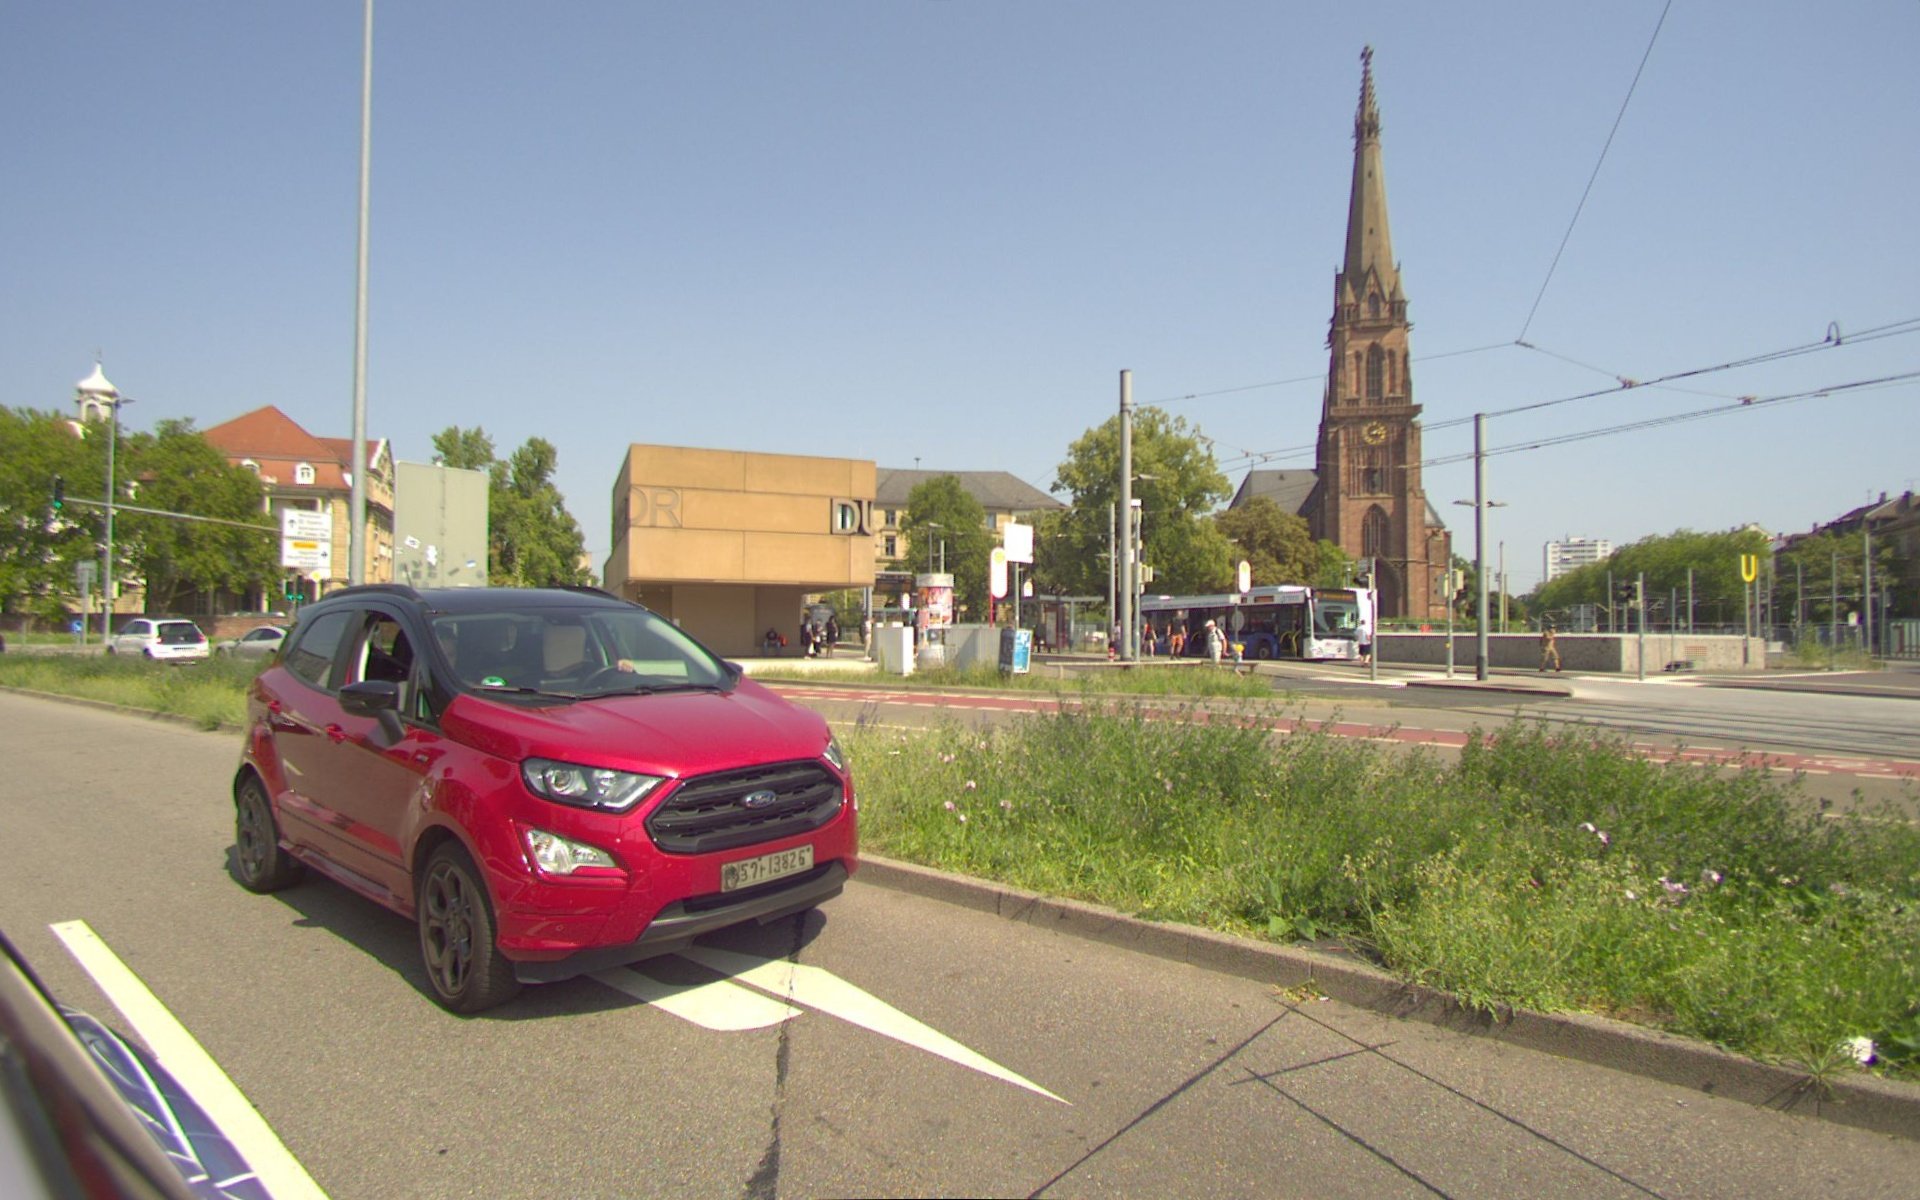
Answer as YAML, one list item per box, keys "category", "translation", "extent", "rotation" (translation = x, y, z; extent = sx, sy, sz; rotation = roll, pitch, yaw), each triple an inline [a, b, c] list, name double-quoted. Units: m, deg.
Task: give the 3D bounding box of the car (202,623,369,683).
- category: "car"
  translation: [-19.188, 1.466, 28.776]
  extent: [4.693, 1.597, 1.981]
  rotation: [-1, -2, 28]

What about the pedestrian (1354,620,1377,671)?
- category: "pedestrian"
  translation: [14.814, 1.645, 36.977]
  extent: [0.637, 1.825, 0.594]
  rotation: [-1, 0, 35]

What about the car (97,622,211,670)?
- category: "car"
  translation: [-26.083, 1.459, 32.741]
  extent: [3.458, 1.490, 1.513]
  rotation: [-1, -2, 25]

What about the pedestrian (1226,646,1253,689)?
- category: "pedestrian"
  translation: [7.825, 1.882, 28.314]
  extent: [0.594, 1.134, 0.637]
  rotation: [-1, 0, 5]

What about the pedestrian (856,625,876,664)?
- category: "pedestrian"
  translation: [-3.701, 1.760, 39.895]
  extent: [0.541, 1.508, 0.532]
  rotation: [-1, -3, 39]

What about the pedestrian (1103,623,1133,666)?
- category: "pedestrian"
  translation: [6.827, 1.935, 43.780]
  extent: [0.913, 1.837, 0.940]
  rotation: [1, -2, -22]

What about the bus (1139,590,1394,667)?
- category: "bus"
  translation: [12.169, 1.210, 42.387]
  extent: [3.346, 2.733, 12.382]
  rotation: [1, -2, -21]

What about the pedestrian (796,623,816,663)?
- category: "pedestrian"
  translation: [-5.939, 1.658, 39.127]
  extent: [0.541, 1.508, 0.532]
  rotation: [-1, -3, 39]

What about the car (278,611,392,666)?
- category: "car"
  translation: [-22.515, 1.356, 36.446]
  extent: [3.900, 1.868, 1.850]
  rotation: [0, -2, 30]

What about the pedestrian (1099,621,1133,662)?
- category: "pedestrian"
  translation: [6.729, 1.781, 43.700]
  extent: [1.060, 1.709, 1.068]
  rotation: [1, -2, -21]

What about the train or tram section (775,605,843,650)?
- category: "train or tram section"
  translation: [-12.788, 2.335, 84.631]
  extent: [2.658, 3.465, 13.463]
  rotation: [1, -2, -21]

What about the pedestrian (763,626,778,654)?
- category: "pedestrian"
  translation: [-7.607, 1.596, 40.605]
  extent: [0.530, 1.108, 0.543]
  rotation: [1, -2, -18]

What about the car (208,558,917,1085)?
- category: "car"
  translation: [-2.181, 0.704, 4.978]
  extent: [3.843, 1.598, 1.672]
  rotation: [-2, -1, 41]

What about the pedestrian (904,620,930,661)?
- category: "pedestrian"
  translation: [-1.582, 1.490, 37.432]
  extent: [0.605, 1.508, 0.761]
  rotation: [-1, -3, 39]

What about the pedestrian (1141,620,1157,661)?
- category: "pedestrian"
  translation: [8.466, 1.803, 45.358]
  extent: [0.632, 1.825, 0.599]
  rotation: [-1, 0, 16]

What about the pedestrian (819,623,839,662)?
- category: "pedestrian"
  translation: [-5.179, 1.682, 39.994]
  extent: [0.541, 1.508, 0.532]
  rotation: [-1, -3, 39]

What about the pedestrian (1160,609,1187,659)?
- category: "pedestrian"
  translation: [8.023, 1.276, 38.035]
  extent: [0.792, 1.837, 0.535]
  rotation: [1, -2, -21]

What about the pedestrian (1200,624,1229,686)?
- category: "pedestrian"
  translation: [7.159, 1.534, 28.528]
  extent: [0.684, 1.724, 0.535]
  rotation: [0, -2, 4]
